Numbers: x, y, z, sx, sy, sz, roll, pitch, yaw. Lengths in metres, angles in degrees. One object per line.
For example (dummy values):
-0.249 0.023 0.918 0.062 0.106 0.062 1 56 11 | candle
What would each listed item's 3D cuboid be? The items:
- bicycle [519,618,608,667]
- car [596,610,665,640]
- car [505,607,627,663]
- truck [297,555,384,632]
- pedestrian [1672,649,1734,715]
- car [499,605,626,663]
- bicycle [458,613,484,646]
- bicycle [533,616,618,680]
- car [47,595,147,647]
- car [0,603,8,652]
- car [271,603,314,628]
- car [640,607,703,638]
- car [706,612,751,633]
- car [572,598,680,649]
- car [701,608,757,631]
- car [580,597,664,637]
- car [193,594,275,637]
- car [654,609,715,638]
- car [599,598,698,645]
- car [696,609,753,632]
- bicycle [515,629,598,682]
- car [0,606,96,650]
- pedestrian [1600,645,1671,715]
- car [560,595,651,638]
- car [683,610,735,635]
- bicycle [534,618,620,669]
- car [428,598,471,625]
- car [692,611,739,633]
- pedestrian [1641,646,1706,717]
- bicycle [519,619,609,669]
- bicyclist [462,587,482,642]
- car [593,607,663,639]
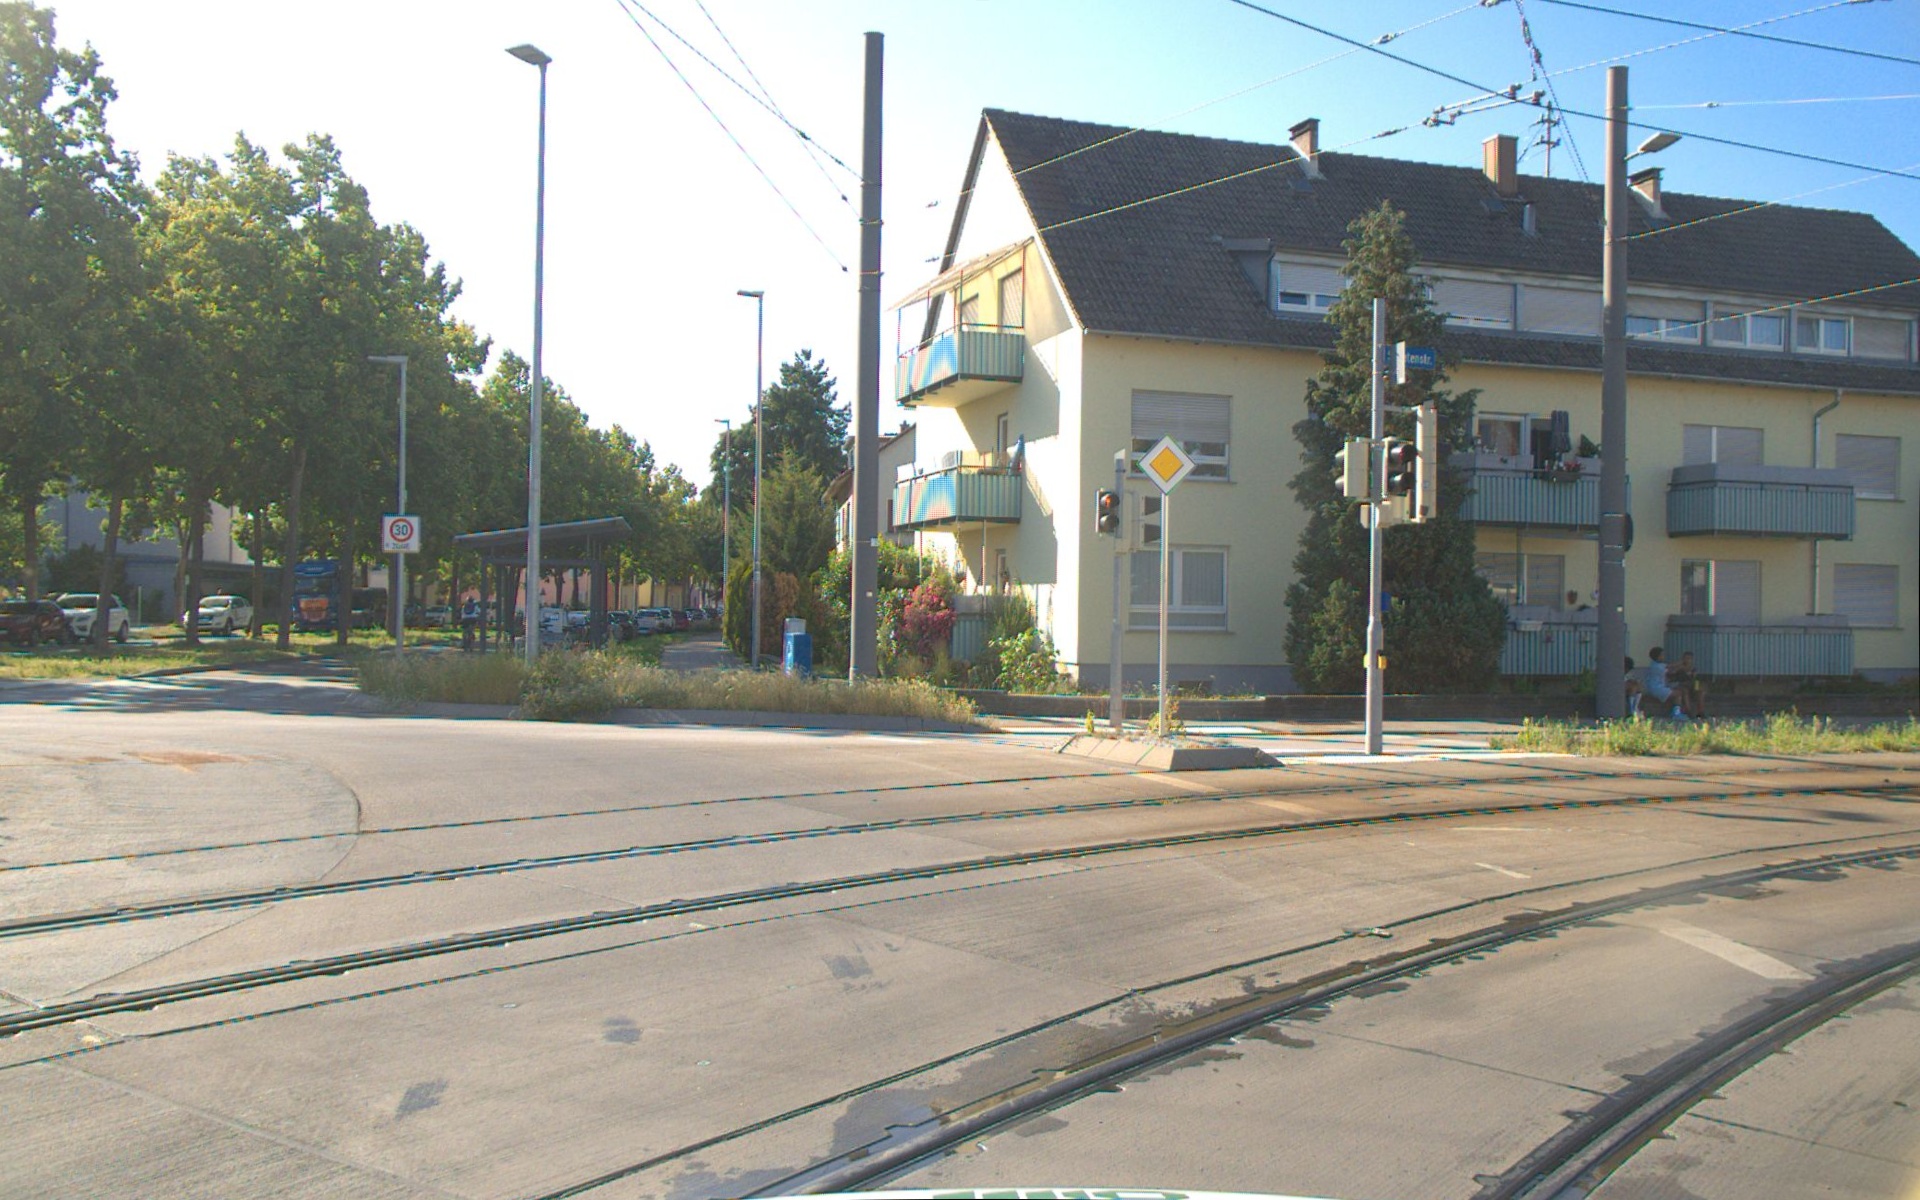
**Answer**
-9.207 0.992 38.439 1.939 1.045 0.686 3 -1 -14 | bicycle
-17.394 1.311 87.410 3.375 1.419 1.236 3 -1 -6 | car
-11.987 1.060 50.534 3.452 1.560 1.574 3 -1 -10 | car
-35.097 -0.354 93.991 3.014 4.063 7.988 3 0 -10 | truck
12.089 1.335 26.921 0.590 1.023 0.713 3 -1 -41 | pedestrian
-11.696 1.004 48.815 3.452 1.560 1.574 3 -1 -10 | car
-16.003 0.969 54.112 0.754 1.055 1.526 2 -2 -17 | bicycle
-7.889 0.977 33.986 1.637 1.229 0.686 3 -1 -14 | bicycle
-31.231 0.742 59.970 1.957 1.729 4.207 3 -1 -10 | car
-29.773 0.818 49.090 1.771 1.490 3.783 3 -1 -17 | car
-47.227 1.088 117.072 1.957 1.729 4.207 1 0 -10 | car
-15.841 1.226 90.916 3.299 1.560 1.519 3 -1 -11 | car
-18.448 1.779 131.974 3.453 1.560 1.573 3 -1 -11 | car
-11.190 0.789 55.595 3.452 1.560 1.574 3 -1 -10 | car
-14.748 1.219 105.554 3.453 1.302 1.573 3 -1 -11 | car
-14.789 0.744 72.482 3.452 1.560 1.574 3 -1 -10 | car
-33.320 0.713 76.076 1.955 1.804 5.053 2 -1 -6 | car
-15.953 1.337 95.738 3.416 1.519 1.548 3 -1 -11 | car
-11.387 0.793 60.566 3.452 1.560 1.574 3 -1 -10 | car
-14.997 1.284 105.281 3.453 1.318 1.573 3 -1 -11 | car
-8.572 1.171 35.140 1.661 1.045 0.597 3 -1 -14 | bicycle
-30.479 0.916 55.225 1.928 1.347 3.985 3 -1 -14 | car
10.750 1.264 26.337 0.675 1.065 0.815 2 -1 -19 | pedestrian
-14.300 0.675 66.767 3.452 1.560 1.451 3 -1 -10 | car
-17.491 1.578 115.130 3.453 1.560 1.573 3 -1 -11 | car
-8.490 0.968 36.709 1.809 1.045 0.686 3 -1 -14 | bicycle
-35.474 0.812 114.983 1.955 1.729 4.213 2 -1 -5 | car
-18.612 1.682 125.712 3.453 1.560 1.573 3 -1 -11 | car
11.520 1.308 26.698 0.805 1.083 0.623 1 -1 40 | pedestrian
-8.977 0.986 37.519 1.939 1.045 0.693 3 -1 -14 | bicycle
-16.007 0.477 54.244 0.593 1.744 0.541 1 -4 -18 | bicyclist
-17.054 1.164 85.034 3.346 1.560 1.523 1 0 -6 | car
